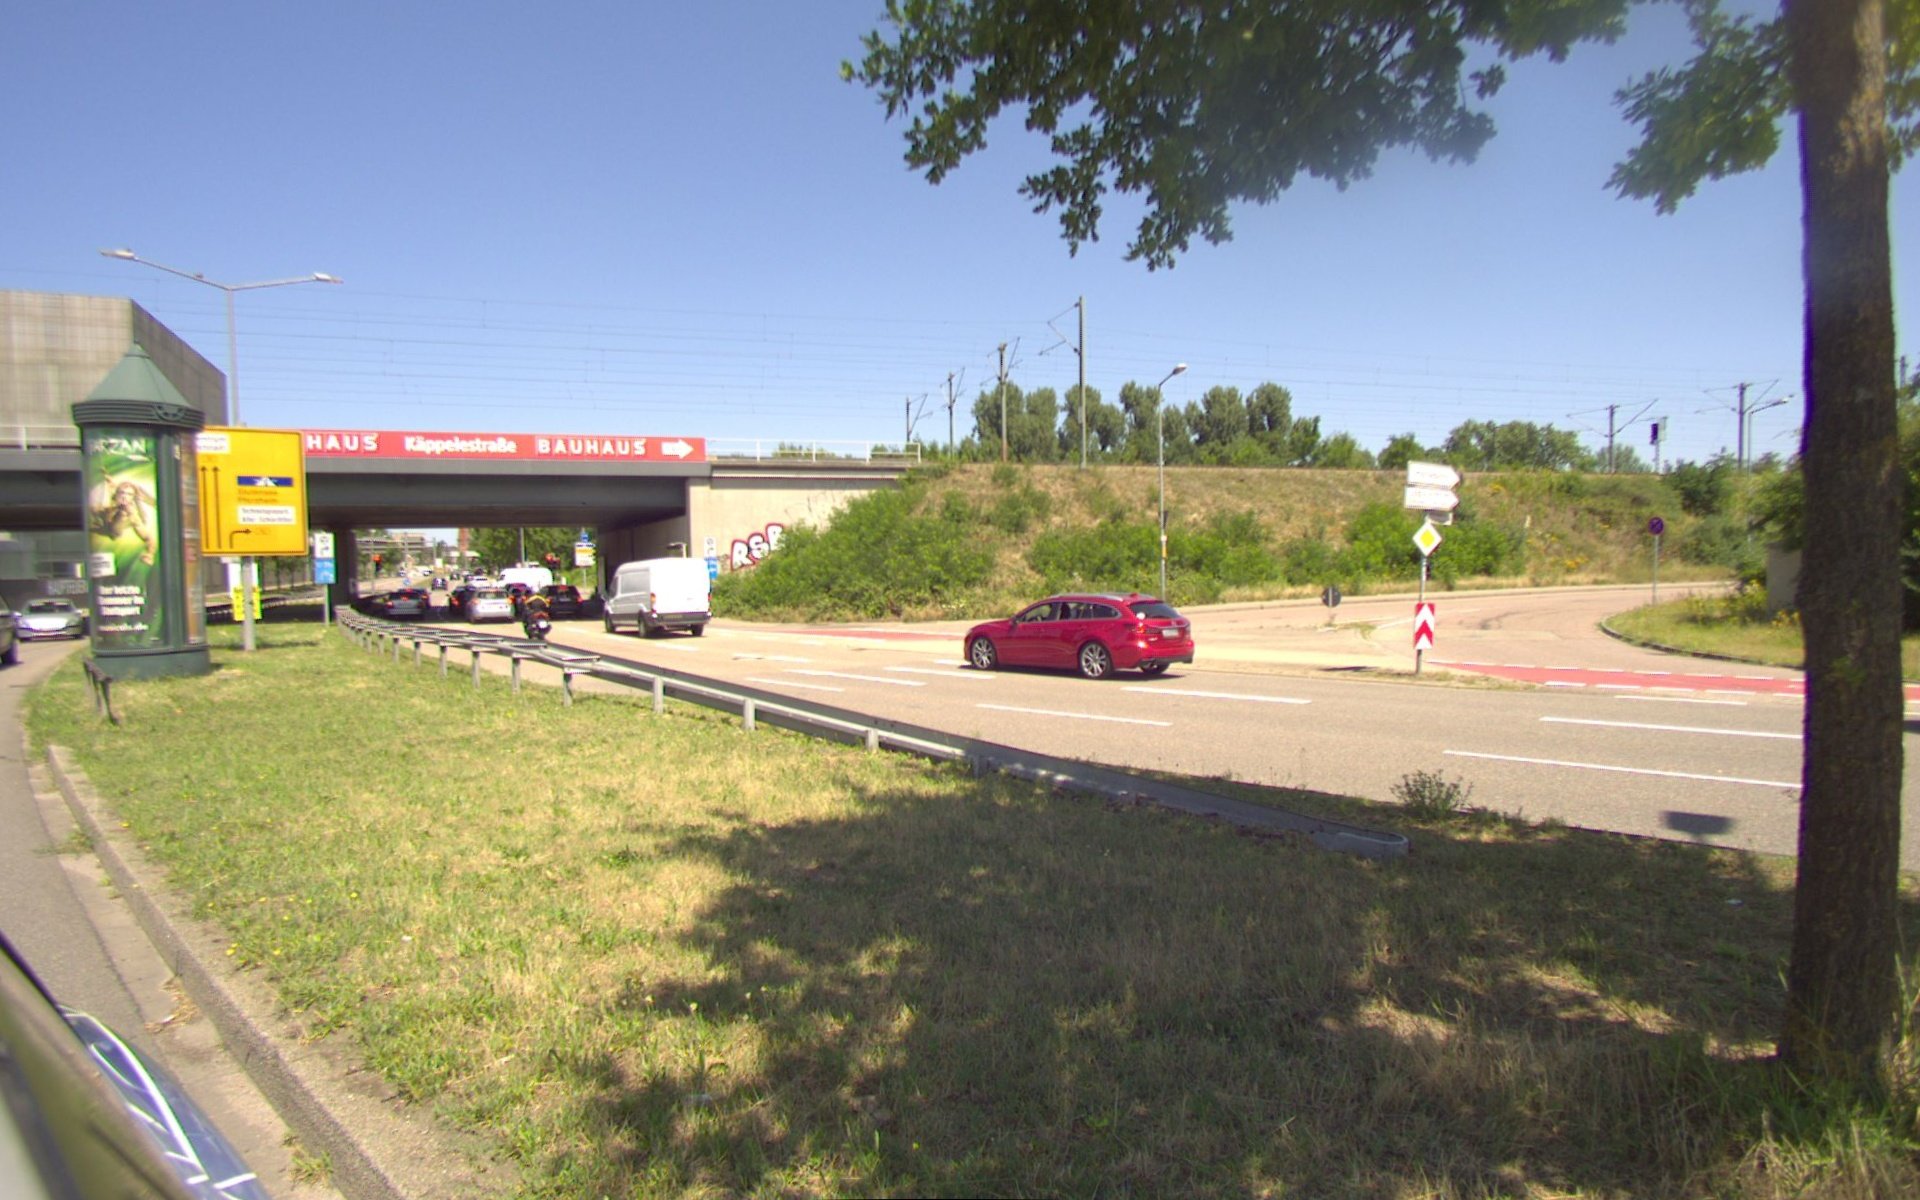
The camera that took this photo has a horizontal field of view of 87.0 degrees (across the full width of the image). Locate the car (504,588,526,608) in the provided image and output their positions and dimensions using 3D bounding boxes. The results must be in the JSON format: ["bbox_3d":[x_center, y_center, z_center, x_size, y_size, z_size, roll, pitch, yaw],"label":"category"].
[{"bbox_3d":[-29.996,-0.137,68.249,1.166,1.257,2.701,-1,1,-21],"label":"car"}]

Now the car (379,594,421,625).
[{"bbox_3d":[-26.970,0.448,48.836,1.611,1.413,4.235,0,0,-27],"label":"car"}]

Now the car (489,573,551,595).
[{"bbox_3d":[-45.613,-1.633,104.861,6.335,2.118,1.987,0,1,20],"label":"car"}]

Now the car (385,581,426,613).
[{"bbox_3d":[-33.714,-0.206,61.585,1.875,1.874,4.013,-1,1,-25],"label":"car"}]

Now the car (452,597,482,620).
[{"bbox_3d":[-27.194,0.455,55.877,1.250,1.194,2.787,-1,1,-21],"label":"car"}]

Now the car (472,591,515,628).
[{"bbox_3d":[-20.636,0.413,44.838,1.611,1.579,4.086,0,0,-23],"label":"car"}]

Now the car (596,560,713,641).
[{"bbox_3d":[-10.475,0.091,34.341,2.066,2.519,5.823,-1,-1,-35],"label":"car"}]

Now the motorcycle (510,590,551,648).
[{"bbox_3d":[-13.220,0.550,31.125,0.590,1.691,2.431,-1,1,-36],"label":"motorcycle"}]

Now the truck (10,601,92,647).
[{"bbox_3d":[-33.132,0.816,36.988,1.703,1.513,4.010,-1,1,-35],"label":"truck"}]

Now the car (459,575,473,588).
[{"bbox_3d":[-78.064,-2.964,159.998,1.809,2.029,4.013,-1,1,-27],"label":"car"}]

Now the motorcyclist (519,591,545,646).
[{"bbox_3d":[-13.098,0.556,30.989,0.579,1.638,0.564,-1,1,-39],"label":"motorcyclist"}]

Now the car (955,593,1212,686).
[{"bbox_3d":[2.109,0.620,18.350,1.809,1.448,4.531,-2,1,-43],"label":"car"}]

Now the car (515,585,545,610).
[{"bbox_3d":[-26.588,-0.163,62.698,1.548,1.514,3.418,-1,1,-21],"label":"car"}]

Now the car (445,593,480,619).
[{"bbox_3d":[-30.016,0.327,61.136,1.593,1.487,3.444,-1,1,-21],"label":"car"}]

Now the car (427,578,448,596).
[{"bbox_3d":[-60.048,-1.533,116.359,1.965,2.029,4.013,-1,1,-26],"label":"car"}]

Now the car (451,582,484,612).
[{"bbox_3d":[-32.616,-0.229,67.112,1.875,1.874,4.013,-1,1,-25],"label":"car"}]

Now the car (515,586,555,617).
[{"bbox_3d":[-24.000,0.057,57.049,1.747,1.680,4.028,-1,1,-27],"label":"car"}]

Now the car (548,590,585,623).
[{"bbox_3d":[-19.242,0.287,49.449,1.493,1.553,3.692,-1,1,-24],"label":"car"}]

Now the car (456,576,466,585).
[{"bbox_3d":[-114.832,-4.403,232.852,1.965,2.029,4.013,-1,1,-26],"label":"car"}]

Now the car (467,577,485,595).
[{"bbox_3d":[-53.780,-1.556,112.443,1.678,2.029,4.013,-1,1,-26],"label":"car"}]

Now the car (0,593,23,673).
[{"bbox_3d":[-21.372,0.719,21.302,1.816,1.708,3.709,-1,1,-34],"label":"car"}]

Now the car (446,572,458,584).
[{"bbox_3d":[-91.874,-3.919,182.882,1.809,2.029,4.013,-1,1,-27],"label":"car"}]
